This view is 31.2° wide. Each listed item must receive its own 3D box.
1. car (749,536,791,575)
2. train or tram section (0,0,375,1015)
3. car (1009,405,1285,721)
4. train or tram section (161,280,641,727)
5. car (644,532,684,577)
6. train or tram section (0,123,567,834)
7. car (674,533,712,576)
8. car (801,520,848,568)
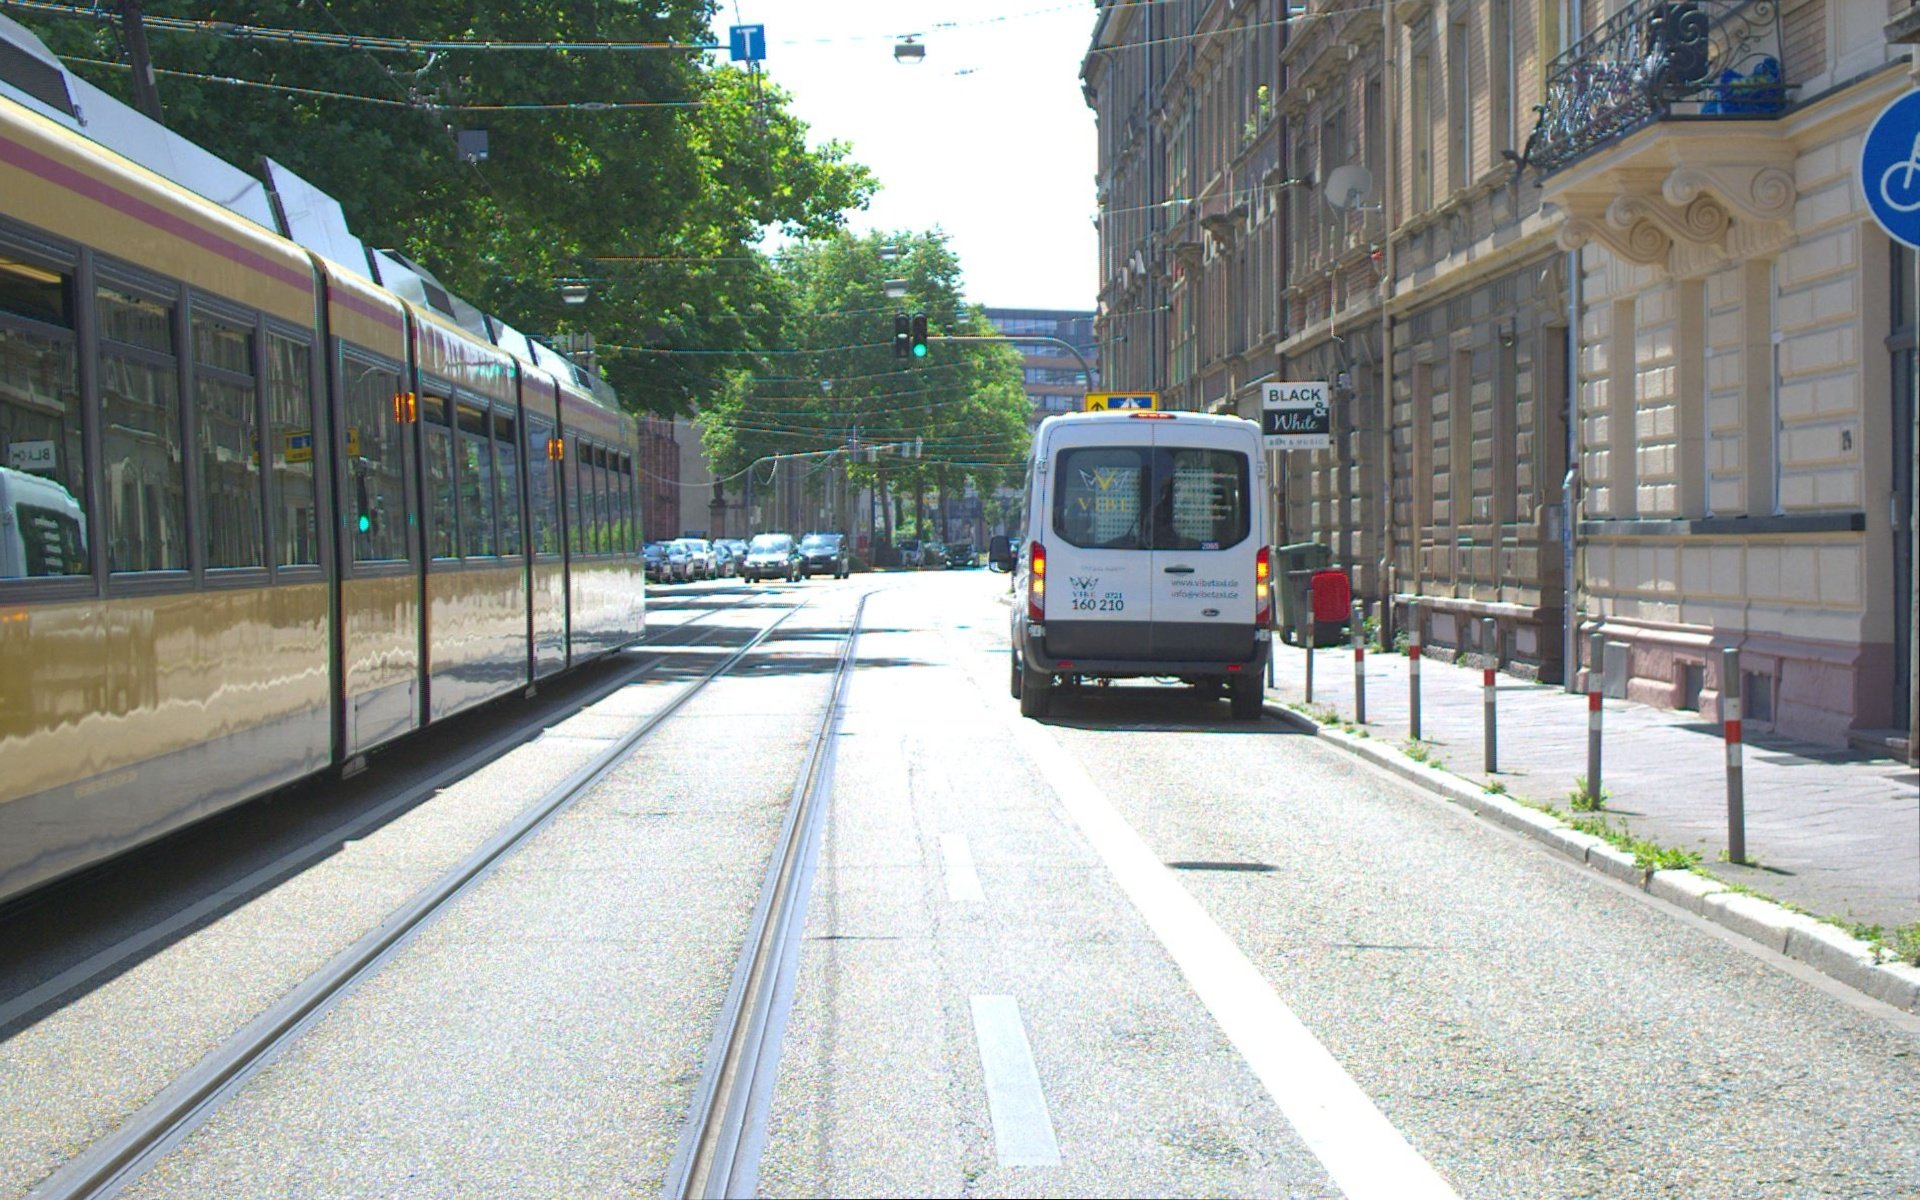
[{"bbox_3d":[-7.039,-1.651,127.172,1.528,1.404,3.490,1,1,-3],"label":"car"},{"bbox_3d":[-4.449,-0.544,11.799,2.960,3.568,13.425,0,1,-2],"label":"train or tram section"},{"bbox_3d":[1.527,-0.348,30.115,2.067,2.492,5.454,1,1,0],"label":"car"},{"bbox_3d":[-5.090,-0.908,34.231,2.960,3.568,13.425,0,1,-2],"label":"train or tram section"},{"bbox_3d":[-11.612,-1.791,135.076,1.454,1.725,3.194,1,1,-3],"label":"car"},{"bbox_3d":[-4.811,-0.742,23.983,2.960,3.568,13.425,0,1,-2],"label":"train or tram section"},{"bbox_3d":[-10.883,-1.880,140.210,1.454,1.725,3.194,1,1,-3],"label":"car"},{"bbox_3d":[-5.309,-2.201,134.323,1.673,1.853,4.001,1,1,-4],"label":"car"}]
